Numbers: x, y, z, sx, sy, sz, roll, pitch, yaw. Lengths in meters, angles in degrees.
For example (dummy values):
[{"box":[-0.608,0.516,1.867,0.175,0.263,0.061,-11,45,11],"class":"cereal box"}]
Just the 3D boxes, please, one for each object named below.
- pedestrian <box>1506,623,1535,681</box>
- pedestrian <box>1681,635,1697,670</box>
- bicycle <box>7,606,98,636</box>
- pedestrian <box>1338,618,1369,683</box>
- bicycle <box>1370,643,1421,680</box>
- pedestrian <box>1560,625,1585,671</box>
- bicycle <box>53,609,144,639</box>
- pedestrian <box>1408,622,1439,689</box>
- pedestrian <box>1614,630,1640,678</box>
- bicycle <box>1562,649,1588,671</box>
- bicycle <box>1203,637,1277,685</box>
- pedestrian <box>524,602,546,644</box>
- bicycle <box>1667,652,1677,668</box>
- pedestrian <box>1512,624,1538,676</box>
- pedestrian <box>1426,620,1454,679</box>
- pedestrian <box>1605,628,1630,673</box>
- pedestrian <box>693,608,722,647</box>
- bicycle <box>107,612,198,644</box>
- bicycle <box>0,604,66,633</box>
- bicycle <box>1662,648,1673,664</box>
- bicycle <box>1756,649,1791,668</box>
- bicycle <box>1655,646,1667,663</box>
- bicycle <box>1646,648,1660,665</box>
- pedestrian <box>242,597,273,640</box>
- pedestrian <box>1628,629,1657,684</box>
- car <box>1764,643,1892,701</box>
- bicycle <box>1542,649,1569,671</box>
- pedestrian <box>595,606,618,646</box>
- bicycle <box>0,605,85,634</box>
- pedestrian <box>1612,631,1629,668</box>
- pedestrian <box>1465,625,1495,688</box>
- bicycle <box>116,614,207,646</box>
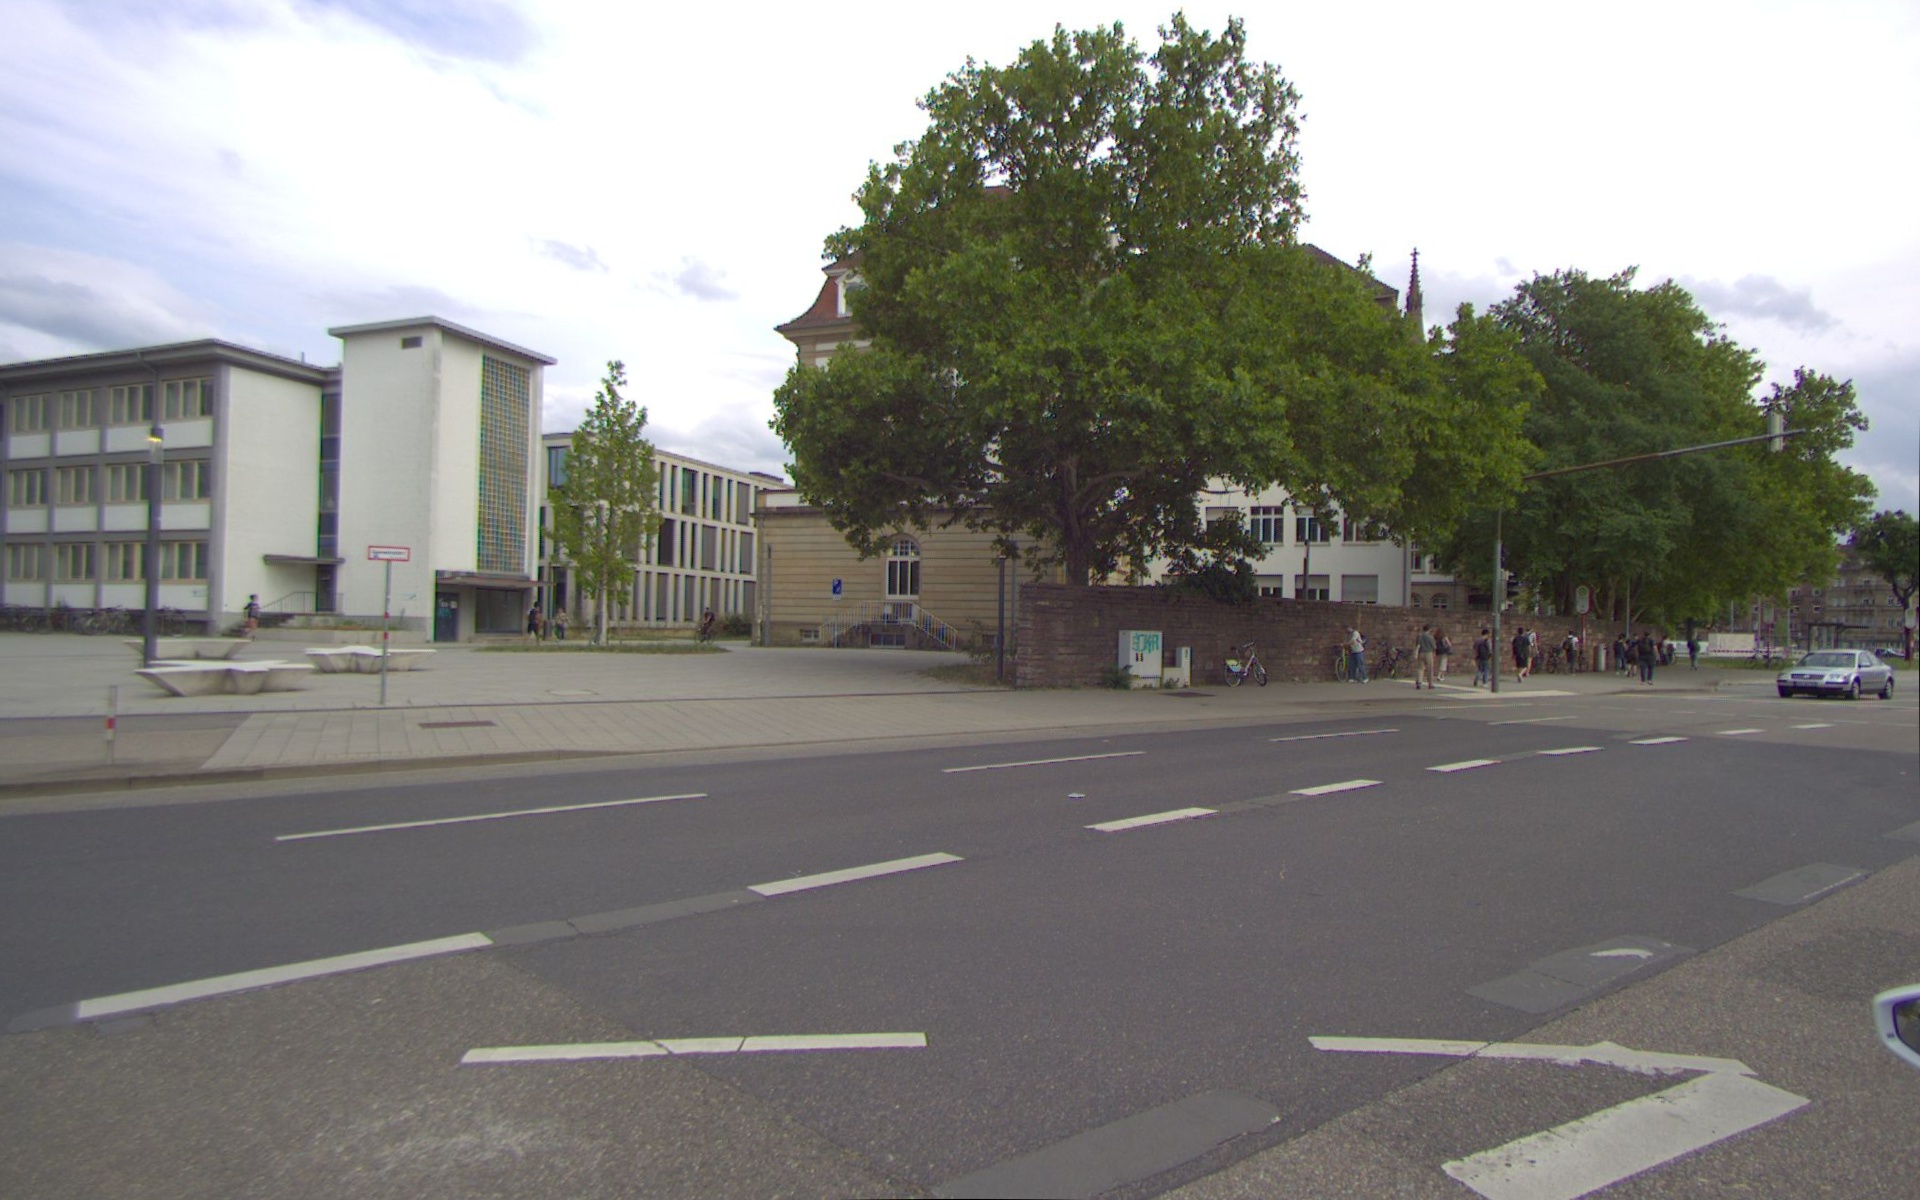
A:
[{"box":[17.926,1.657,32.110,0.748,1.806,0.782,2,-2,30],"class":"pedestrian"},{"box":[35.495,2.554,48.923,0.554,1.690,0.623,1,-2,42],"class":"pedestrian"},{"box":[-36.566,0.852,40.533,0.731,1.149,2.673,1,-1,21],"class":"bicycle"},{"box":[11.416,1.458,29.137,0.733,1.806,0.783,2,-2,24],"class":"pedestrian"},{"box":[13.461,1.897,31.031,1.963,1.072,0.544,2,2,-38],"class":"bicycle"},{"box":[23.556,1.843,38.642,0.748,1.693,0.922,2,-1,30],"class":"pedestrian"},{"box":[-34.068,0.950,39.789,0.731,1.149,2.673,1,-1,21],"class":"bicycle"},{"box":[13.059,1.559,28.293,0.733,1.806,0.783,2,-2,26],"class":"pedestrian"},{"box":[25.916,2.108,39.018,0.748,1.806,0.923,2,-2,30],"class":"pedestrian"},{"box":[25.453,2.480,41.558,1.608,0.807,0.437,1,2,-41],"class":"bicycle"},{"box":[7.225,1.560,25.882,2.145,1.141,0.573,2,2,-36],"class":"bicycle"},{"box":[-16.069,0.878,37.974,0.649,1.569,0.705,2,-1,-28],"class":"pedestrian"},{"box":[43.172,3.614,60.905,0.474,0.919,1.615,0,-2,35],"class":"bicycle"},{"box":[20.245,1.787,35.988,0.748,1.806,0.913,2,-2,30],"class":"pedestrian"},{"box":[15.082,1.550,31.562,0.747,1.806,0.783,2,-2,27],"class":"pedestrian"},{"box":[26.874,2.061,41.073,0.748,1.806,0.782,2,-2,30],"class":"pedestrian"},{"box":[-13.378,1.446,53.251,0.899,2.040,1.232,1,-1,17],"class":"pedestrian"},{"box":[-30.982,1.069,38.603,0.731,1.149,2.673,1,-1,21],"class":"bicycle"},{"box":[-38.872,0.764,41.616,0.731,1.149,2.673,1,-1,21],"class":"bicycle"},{"box":[41.213,3.239,58.476,0.435,0.890,1.614,4,0,37],"class":"bicycle"},{"box":[42.765,3.085,52.804,2.306,0.931,0.469,2,-1,-24],"class":"bicycle"},{"box":[38.397,2.983,55.047,0.342,0.890,1.515,4,0,41],"class":"bicycle"},{"box":[36.853,3.003,53.416,0.411,0.890,1.548,4,0,41],"class":"bicycle"},{"box":[-25.754,0.688,36.843,0.644,1.569,0.599,1,-1,8],"class":"pedestrian"},{"box":[22.989,1.895,33.837,0.749,1.806,0.720,1,-2,35],"class":"pedestrian"},{"box":[25.407,2.056,29.364,4.499,1.509,1.750,2,-1,-34],"class":"car"},{"box":[23.759,2.387,40.081,1.608,0.807,0.437,1,2,-41],"class":"bicycle"},{"box":[-14.216,1.053,40.367,0.727,1.569,0.699,2,-1,-28],"class":"pedestrian"},{"box":[-37.640,0.811,41.113,0.731,1.149,2.673,1,-1,21],"class":"bicycle"},{"box":[29.891,2.240,45.451,0.578,1.613,0.733,1,-2,36],"class":"pedestrian"},{"box":[15.483,1.670,29.900,0.747,1.806,0.783,2,-2,29],"class":"pedestrian"},{"box":[-30.017,1.104,37.827,0.731,1.149,2.673,1,-1,21],"class":"bicycle"}]
